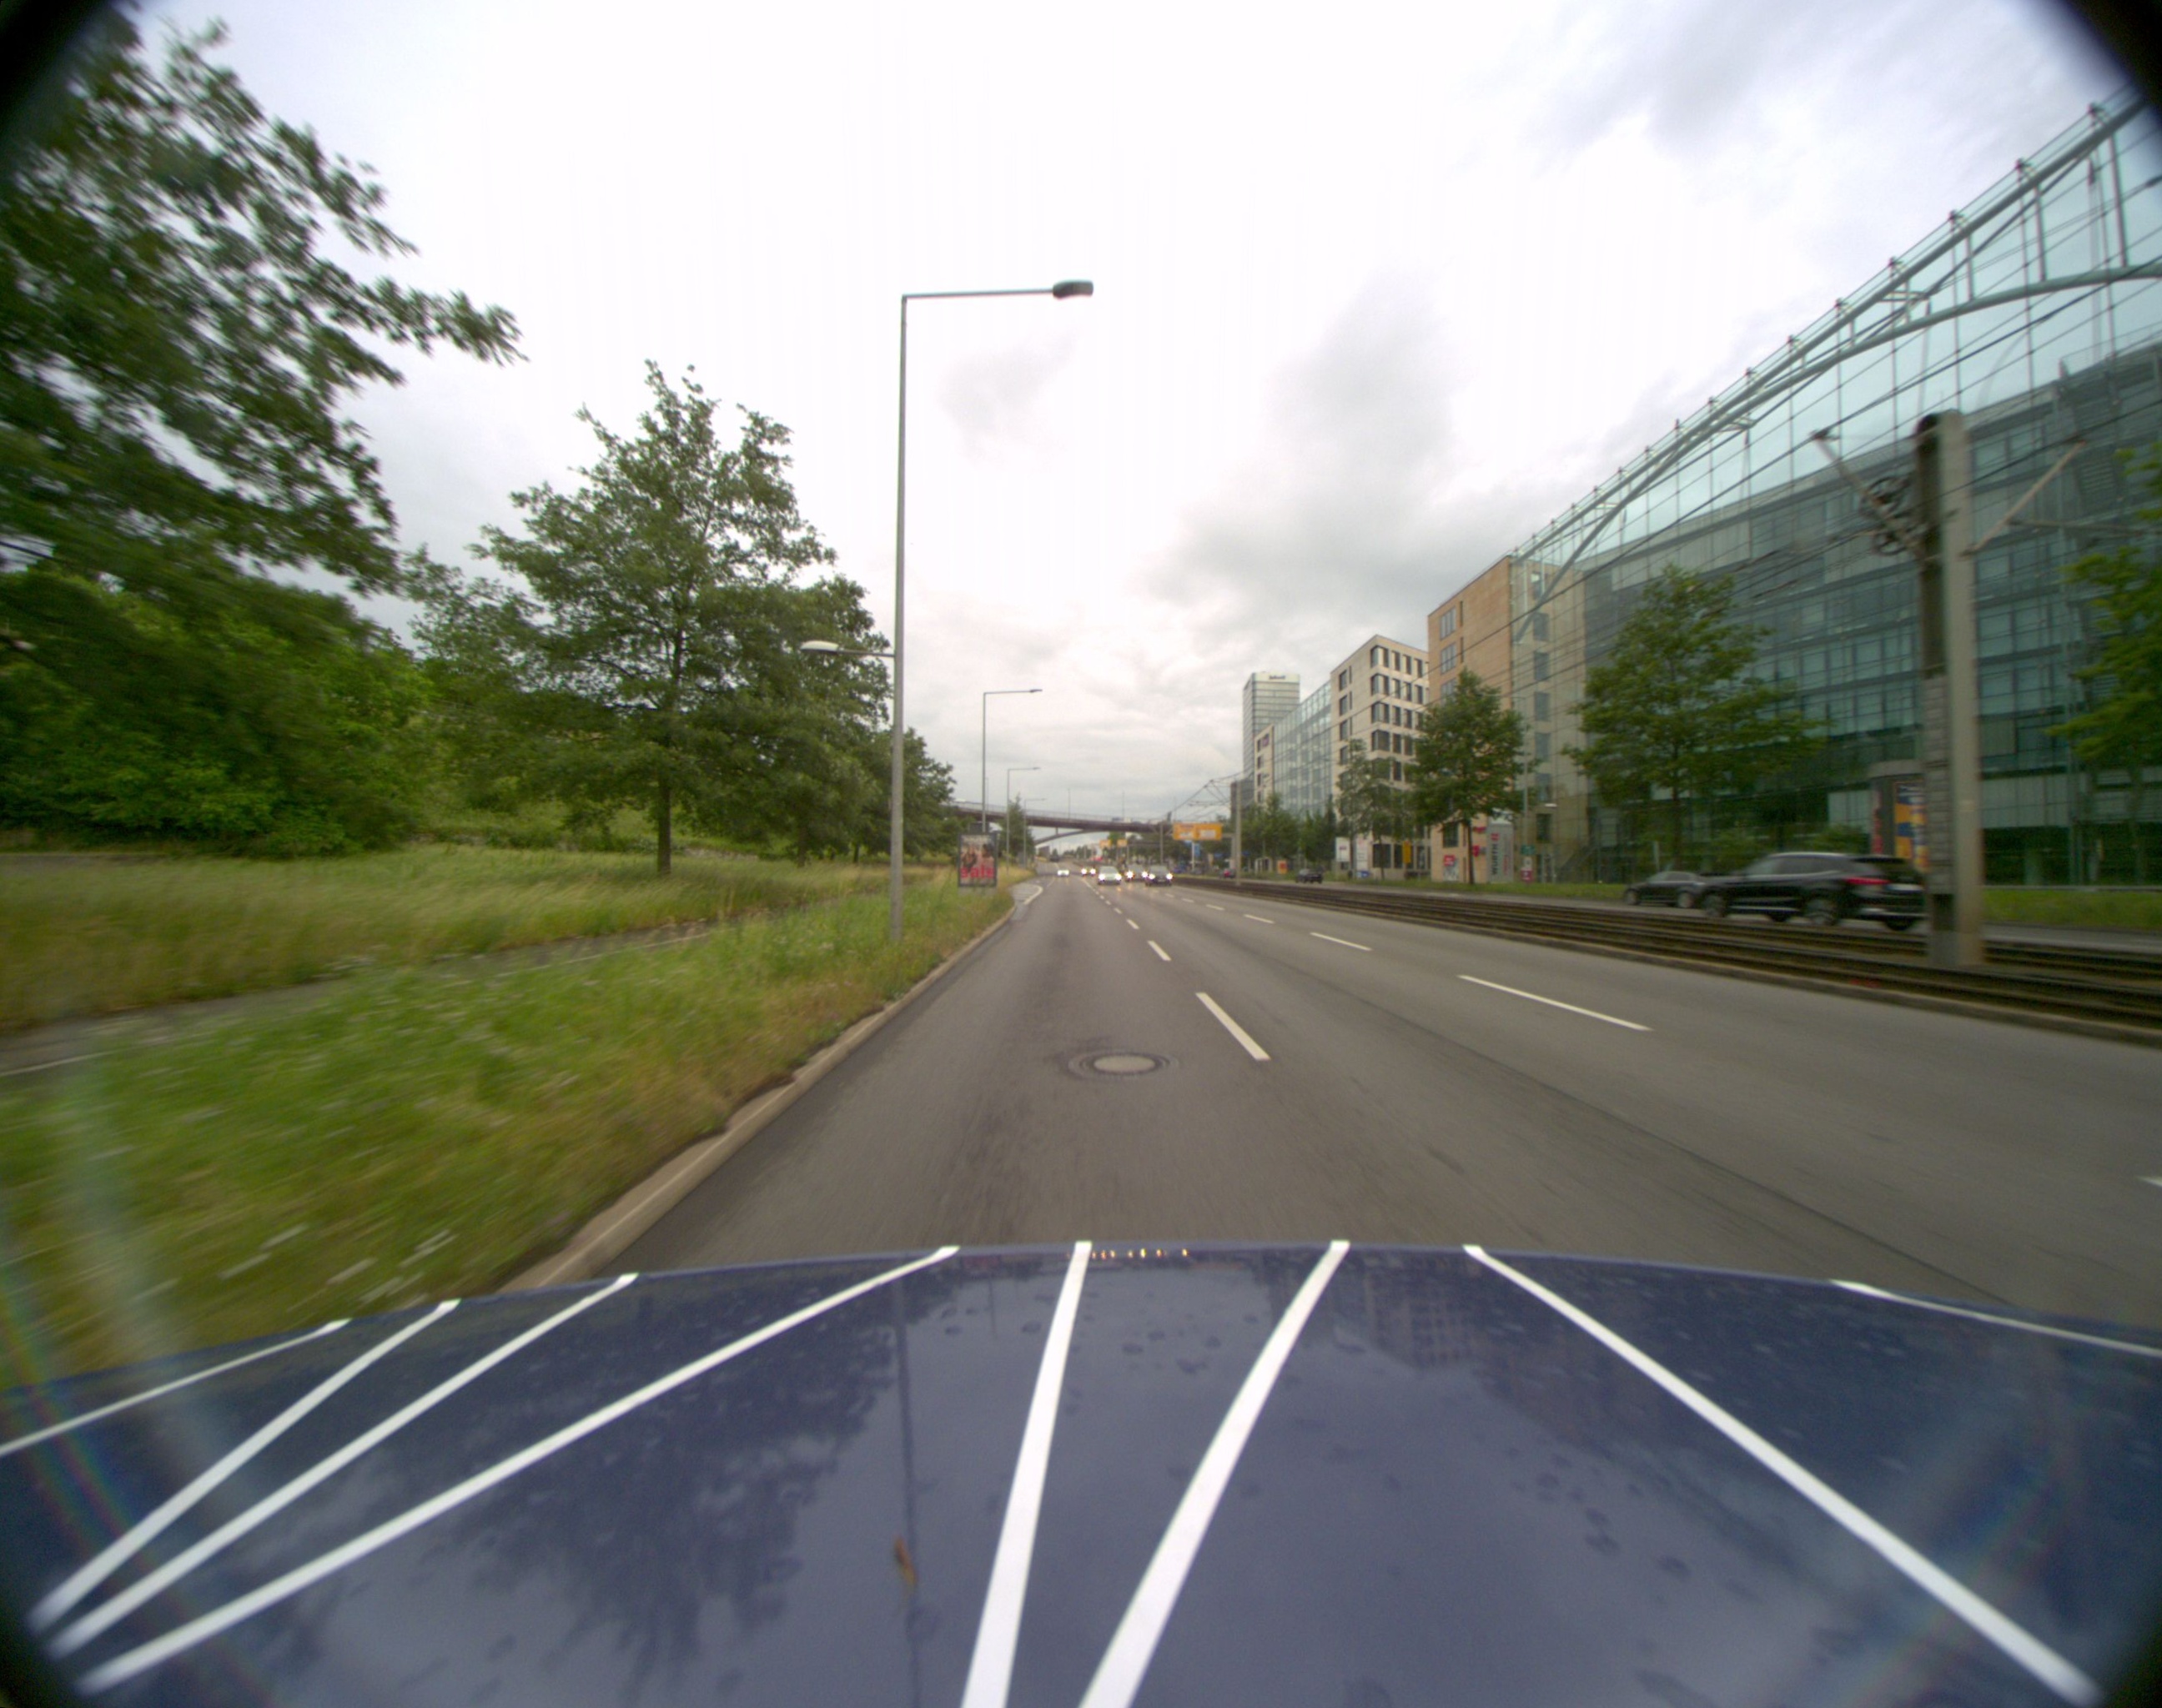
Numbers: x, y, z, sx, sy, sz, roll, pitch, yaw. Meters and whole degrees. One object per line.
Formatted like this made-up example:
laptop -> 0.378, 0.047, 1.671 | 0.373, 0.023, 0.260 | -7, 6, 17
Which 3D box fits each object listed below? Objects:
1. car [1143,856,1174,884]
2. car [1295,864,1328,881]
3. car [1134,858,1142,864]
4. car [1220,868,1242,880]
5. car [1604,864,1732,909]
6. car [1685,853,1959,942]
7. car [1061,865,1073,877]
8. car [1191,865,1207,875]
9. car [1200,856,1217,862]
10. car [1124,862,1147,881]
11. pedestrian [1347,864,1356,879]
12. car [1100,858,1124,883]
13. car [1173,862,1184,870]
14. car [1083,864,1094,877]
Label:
car -> 5.685, 1.180, 56.299 | 1.794, 1.858, 4.376 | -2, 1, 0
car -> 22.945, 1.830, 75.665 | 1.846, 1.477, 4.430 | 3, -1, -1
car -> 16.399, 2.011, 217.924 | 1.764, 1.524, 4.817 | -2, 0, -1
car -> 19.902, 2.578, 100.832 | 1.846, 1.477, 4.654 | 3, -1, -1
car -> 22.585, 1.187, 29.463 | 1.672, 1.453, 4.237 | -2, 1, 0
car -> 16.224, 0.853, 17.041 | 1.810, 1.607, 4.384 | -2, 1, -1
car -> -2.251, 2.675, 120.620 | 1.794, 1.621, 4.376 | -2, 1, 0
car -> 19.591, 2.689, 126.294 | 1.846, 1.477, 4.654 | 3, -1, -1
car -> 35.409, 1.335, 211.397 | 4.363, 1.495, 1.885 | -1, 1, 1
car -> 5.149, 1.616, 72.217 | 1.794, 1.535, 4.376 | -2, 1, 0
pedestrian -> 29.860, 1.896, 83.821 | 0.643, 1.622, 0.831 | -2, 2, -4
car -> 2.515, 1.316, 62.325 | 1.794, 1.858, 4.376 | -2, 1, 0
car -> 21.142, 2.626, 164.886 | 1.845, 1.445, 4.023 | -2, 1, 0
car -> 1.165, 2.549, 120.412 | 1.794, 1.858, 4.376 | -2, 1, 0
